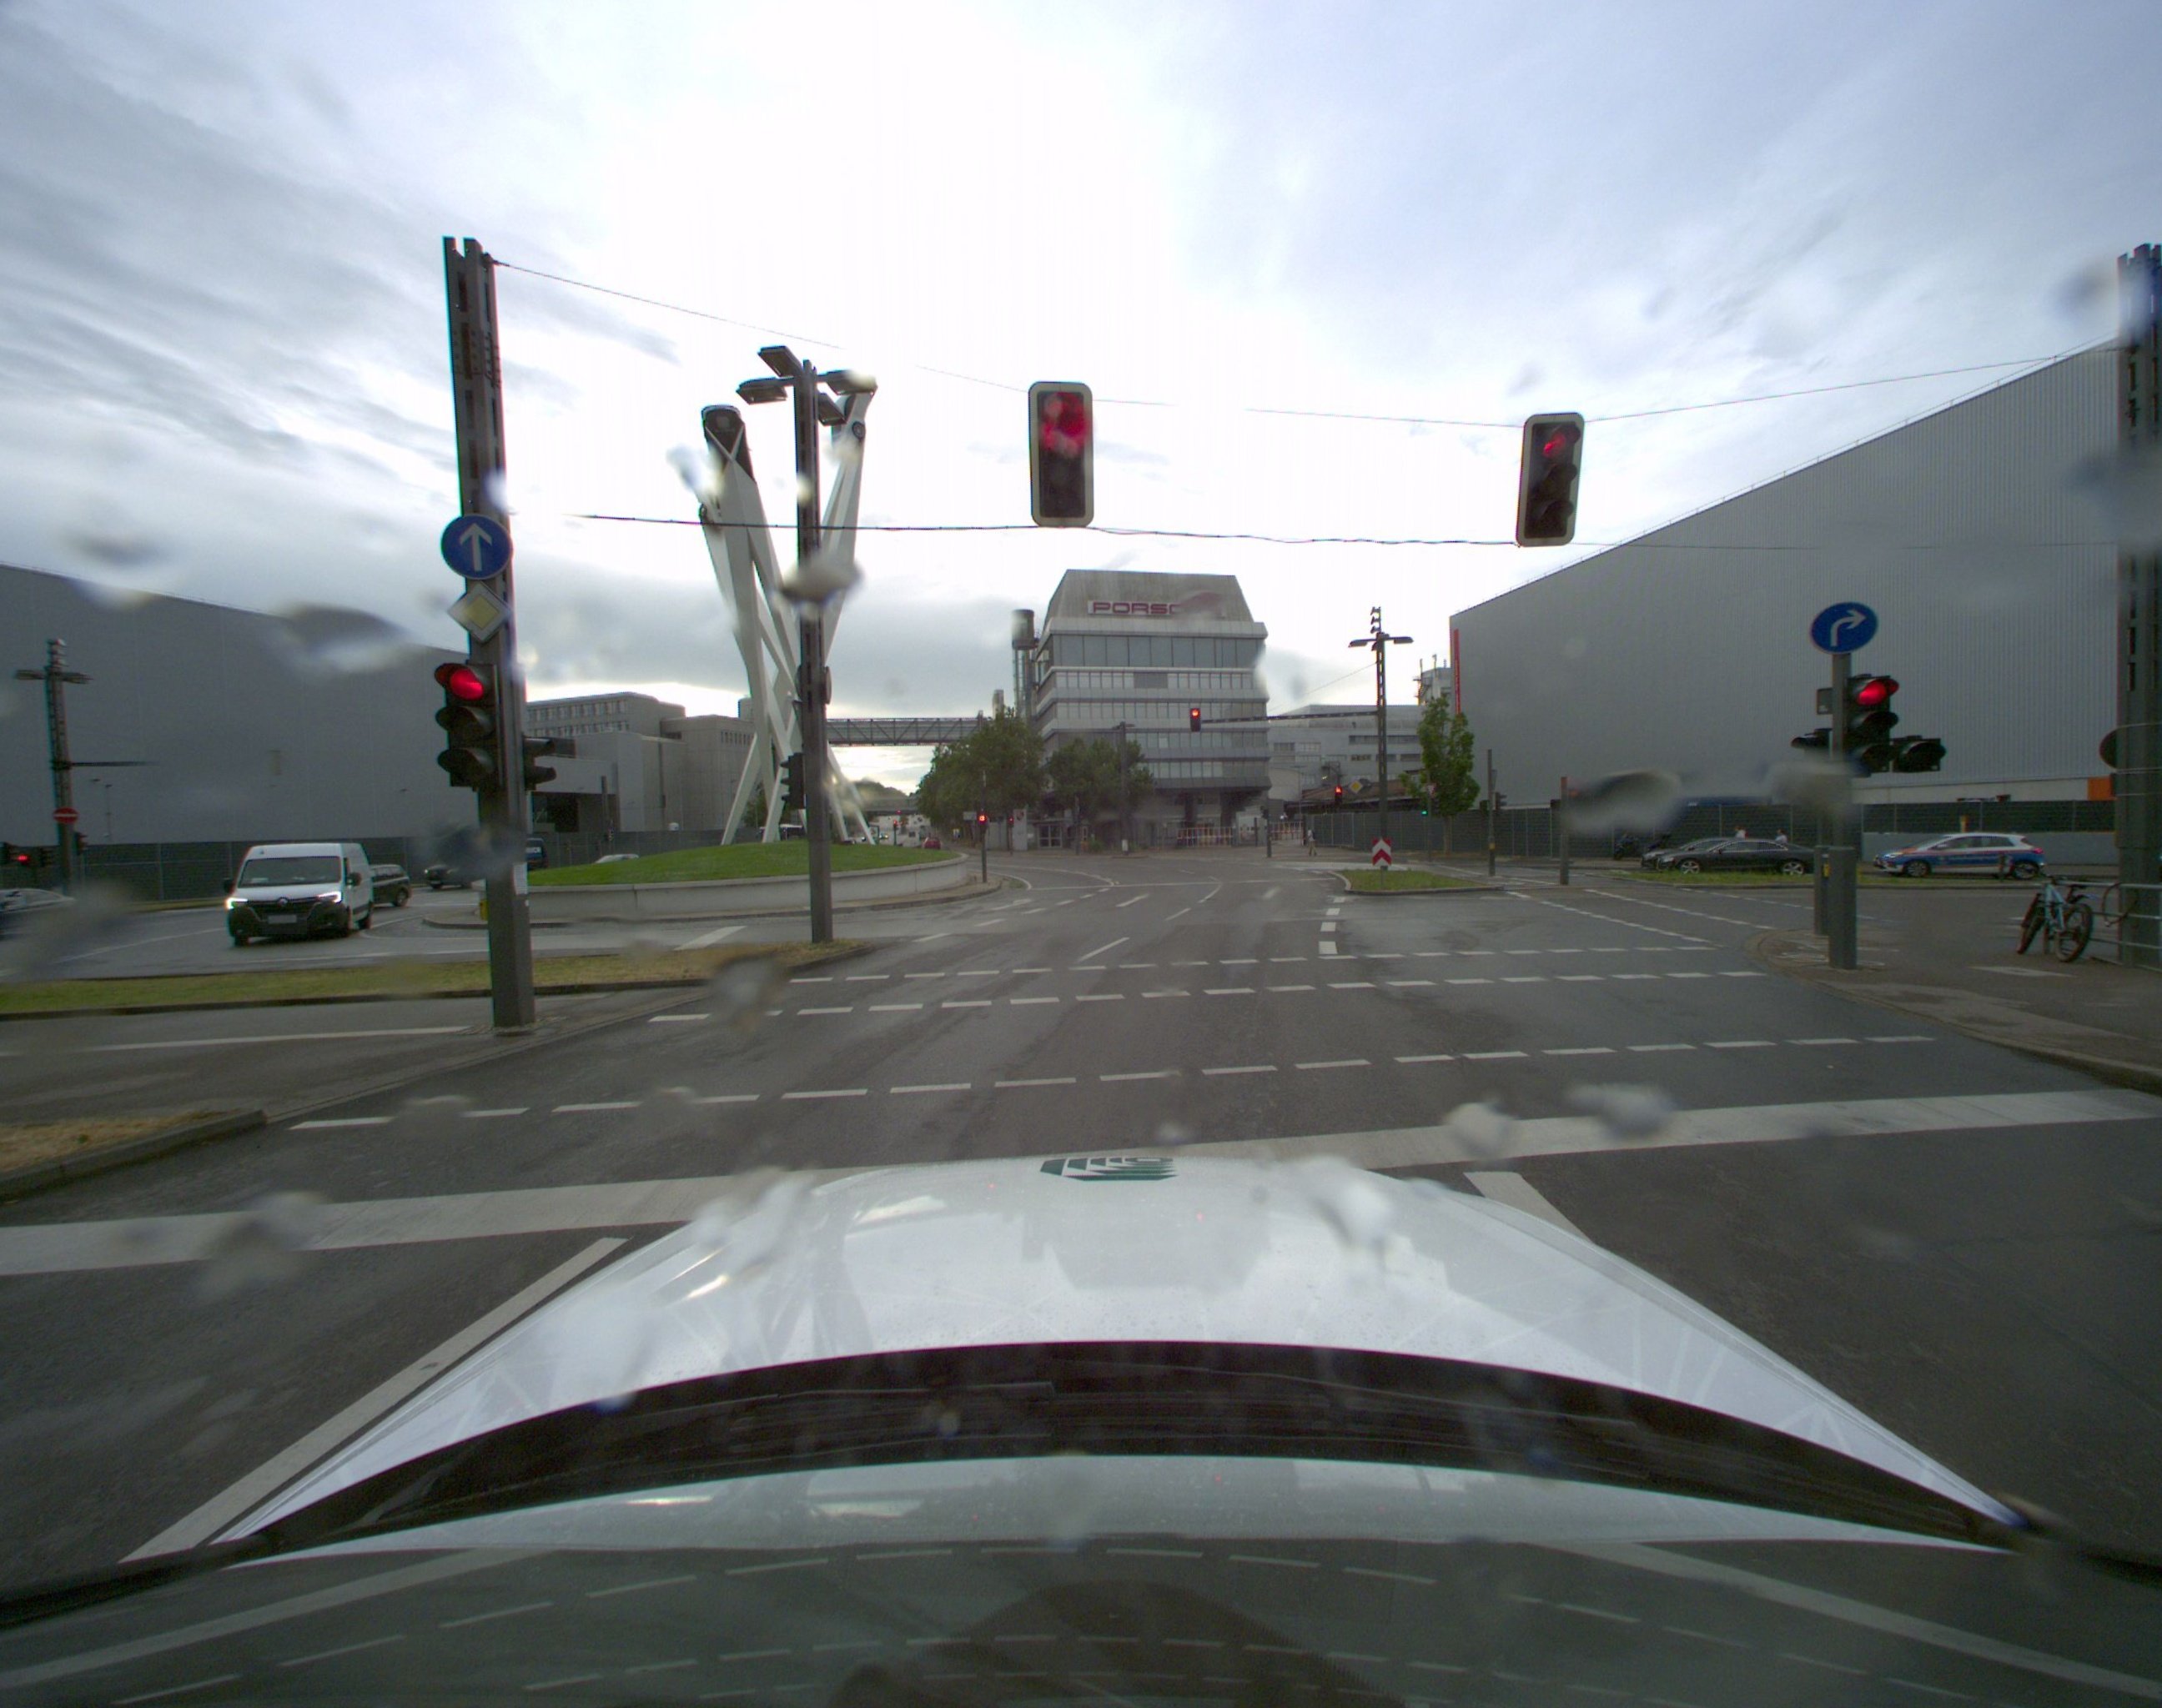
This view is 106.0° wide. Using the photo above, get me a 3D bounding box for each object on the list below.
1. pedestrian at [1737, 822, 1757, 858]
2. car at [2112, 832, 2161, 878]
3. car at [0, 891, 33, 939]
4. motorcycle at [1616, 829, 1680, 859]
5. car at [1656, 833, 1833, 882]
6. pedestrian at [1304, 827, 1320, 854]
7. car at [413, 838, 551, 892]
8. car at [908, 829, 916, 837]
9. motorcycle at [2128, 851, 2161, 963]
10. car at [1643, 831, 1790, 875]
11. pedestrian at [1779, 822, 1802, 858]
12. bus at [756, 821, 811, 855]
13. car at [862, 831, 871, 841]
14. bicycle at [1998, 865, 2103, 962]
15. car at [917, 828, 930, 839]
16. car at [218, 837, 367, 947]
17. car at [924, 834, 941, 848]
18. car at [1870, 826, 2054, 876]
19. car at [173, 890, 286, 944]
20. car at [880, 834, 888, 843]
[{"bbox_3d":[28.200,-0.585,34.486,0.605,1.481,0.426,-1,0,37],"label":"pedestrian"},{"bbox_3d":[35.312,0.022,25.141,3.949,1.392,1.769,0,2,31],"label":"car"},{"bbox_3d":[-32.204,1.812,23.307,1.849,1.338,4.197,-2,0,-40],"label":"car"},{"bbox_3d":[25.689,-0.442,36.948,2.330,1.344,0.657,-1,0,30],"label":"motorcycle"},{"bbox_3d":[22.601,0.075,28.010,4.525,1.539,1.769,0,2,31],"label":"car"},{"bbox_3d":[13.785,-0.803,48.569,0.801,1.611,0.773,-2,-1,19],"label":"pedestrian"},{"bbox_3d":[-33.696,0.549,46.194,1.957,2.820,7.139,-2,0,6],"label":"car"},{"bbox_3d":[-40.947,-5.038,197.390,1.766,1.625,3.413,-2,-1,-14],"label":"car"},{"bbox_3d":[15.136,0.668,10.377,2.213,1.452,0.759,-1,0,12],"label":"motorcycle"},{"bbox_3d":[24.087,-0.068,31.072,4.244,1.539,1.769,0,2,31],"label":"car"},{"bbox_3d":[29.038,-0.566,33.345,0.642,1.481,0.442,-1,0,35],"label":"pedestrian"},{"bbox_3d":[-30.836,-1.585,85.043,2.667,3.200,12.634,-1,0,-8],"label":"bus"},{"bbox_3d":[-43.441,-3.622,164.682,1.629,2.013,3.717,-1,1,-13],"label":"car"},{"bbox_3d":[12.381,0.715,10.442,0.381,1.098,1.762,-2,0,35],"label":"bicycle"},{"bbox_3d":[-31.796,-4.109,164.016,2.237,2.108,4.928,-2,-1,-15],"label":"car"},{"bbox_3d":[-20.314,0.879,21.251,2.009,2.447,5.366,-2,1,-36],"label":"car"},{"bbox_3d":[-17.088,-1.482,93.820,1.773,1.464,3.719,-2,-1,-10],"label":"car"},{"bbox_3d":[30.205,-0.124,28.105,3.930,1.601,1.924,0,1,31],"label":"car"},{"bbox_3d":[-26.842,1.925,25.820,1.848,1.338,4.434,-2,0,-38],"label":"car"},{"bbox_3d":[-42.914,-3.384,177.136,1.629,1.816,3.717,-1,1,-13],"label":"car"}]
